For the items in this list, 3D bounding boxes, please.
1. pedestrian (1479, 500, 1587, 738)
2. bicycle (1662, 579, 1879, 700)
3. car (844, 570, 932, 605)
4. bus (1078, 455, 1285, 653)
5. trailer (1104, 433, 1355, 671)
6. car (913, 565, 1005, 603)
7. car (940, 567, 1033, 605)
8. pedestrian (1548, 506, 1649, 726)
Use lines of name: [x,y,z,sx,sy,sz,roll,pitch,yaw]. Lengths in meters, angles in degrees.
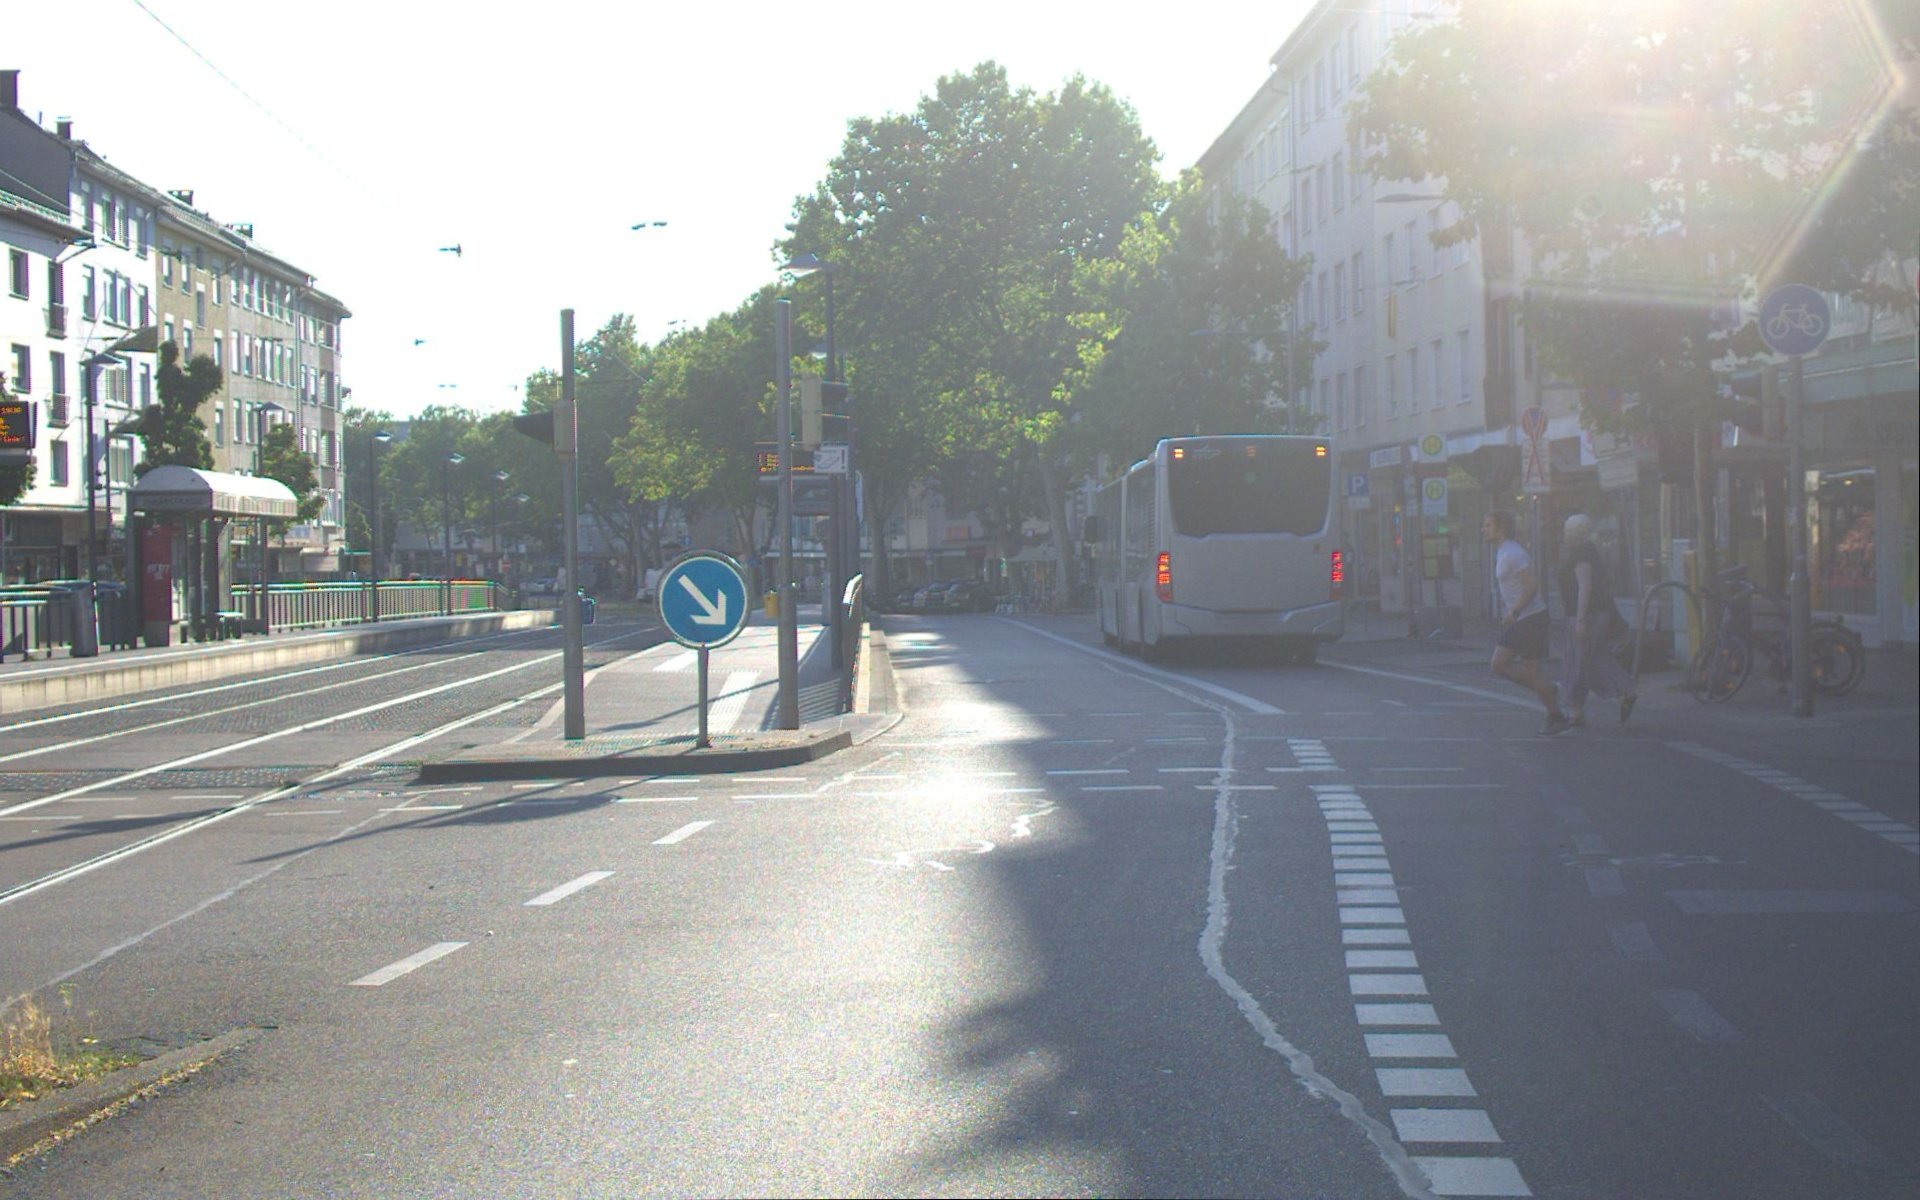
pedestrian: [4.338,0.137,26.077,0.680,1.764,0.687,-1,1,0]
bicycle: [7.373,0.355,31.325,1.772,1.018,0.694,-2,1,-1]
car: [-3.465,-0.614,166.421,3.889,1.591,1.691,-2,1,-29]
bus: [3.659,-0.786,58.992,2.812,3.091,9.095,1,1,-1]
trailer: [3.761,-0.691,50.038,2.812,3.100,8.795,1,1,-1]
car: [-0.034,-0.765,161.340,3.889,1.693,1.833,-2,1,-29]
car: [1.229,-0.648,158.606,3.889,1.693,1.833,-2,1,-29]
pedestrian: [5.207,0.124,28.078,0.680,1.764,0.687,-1,1,0]
